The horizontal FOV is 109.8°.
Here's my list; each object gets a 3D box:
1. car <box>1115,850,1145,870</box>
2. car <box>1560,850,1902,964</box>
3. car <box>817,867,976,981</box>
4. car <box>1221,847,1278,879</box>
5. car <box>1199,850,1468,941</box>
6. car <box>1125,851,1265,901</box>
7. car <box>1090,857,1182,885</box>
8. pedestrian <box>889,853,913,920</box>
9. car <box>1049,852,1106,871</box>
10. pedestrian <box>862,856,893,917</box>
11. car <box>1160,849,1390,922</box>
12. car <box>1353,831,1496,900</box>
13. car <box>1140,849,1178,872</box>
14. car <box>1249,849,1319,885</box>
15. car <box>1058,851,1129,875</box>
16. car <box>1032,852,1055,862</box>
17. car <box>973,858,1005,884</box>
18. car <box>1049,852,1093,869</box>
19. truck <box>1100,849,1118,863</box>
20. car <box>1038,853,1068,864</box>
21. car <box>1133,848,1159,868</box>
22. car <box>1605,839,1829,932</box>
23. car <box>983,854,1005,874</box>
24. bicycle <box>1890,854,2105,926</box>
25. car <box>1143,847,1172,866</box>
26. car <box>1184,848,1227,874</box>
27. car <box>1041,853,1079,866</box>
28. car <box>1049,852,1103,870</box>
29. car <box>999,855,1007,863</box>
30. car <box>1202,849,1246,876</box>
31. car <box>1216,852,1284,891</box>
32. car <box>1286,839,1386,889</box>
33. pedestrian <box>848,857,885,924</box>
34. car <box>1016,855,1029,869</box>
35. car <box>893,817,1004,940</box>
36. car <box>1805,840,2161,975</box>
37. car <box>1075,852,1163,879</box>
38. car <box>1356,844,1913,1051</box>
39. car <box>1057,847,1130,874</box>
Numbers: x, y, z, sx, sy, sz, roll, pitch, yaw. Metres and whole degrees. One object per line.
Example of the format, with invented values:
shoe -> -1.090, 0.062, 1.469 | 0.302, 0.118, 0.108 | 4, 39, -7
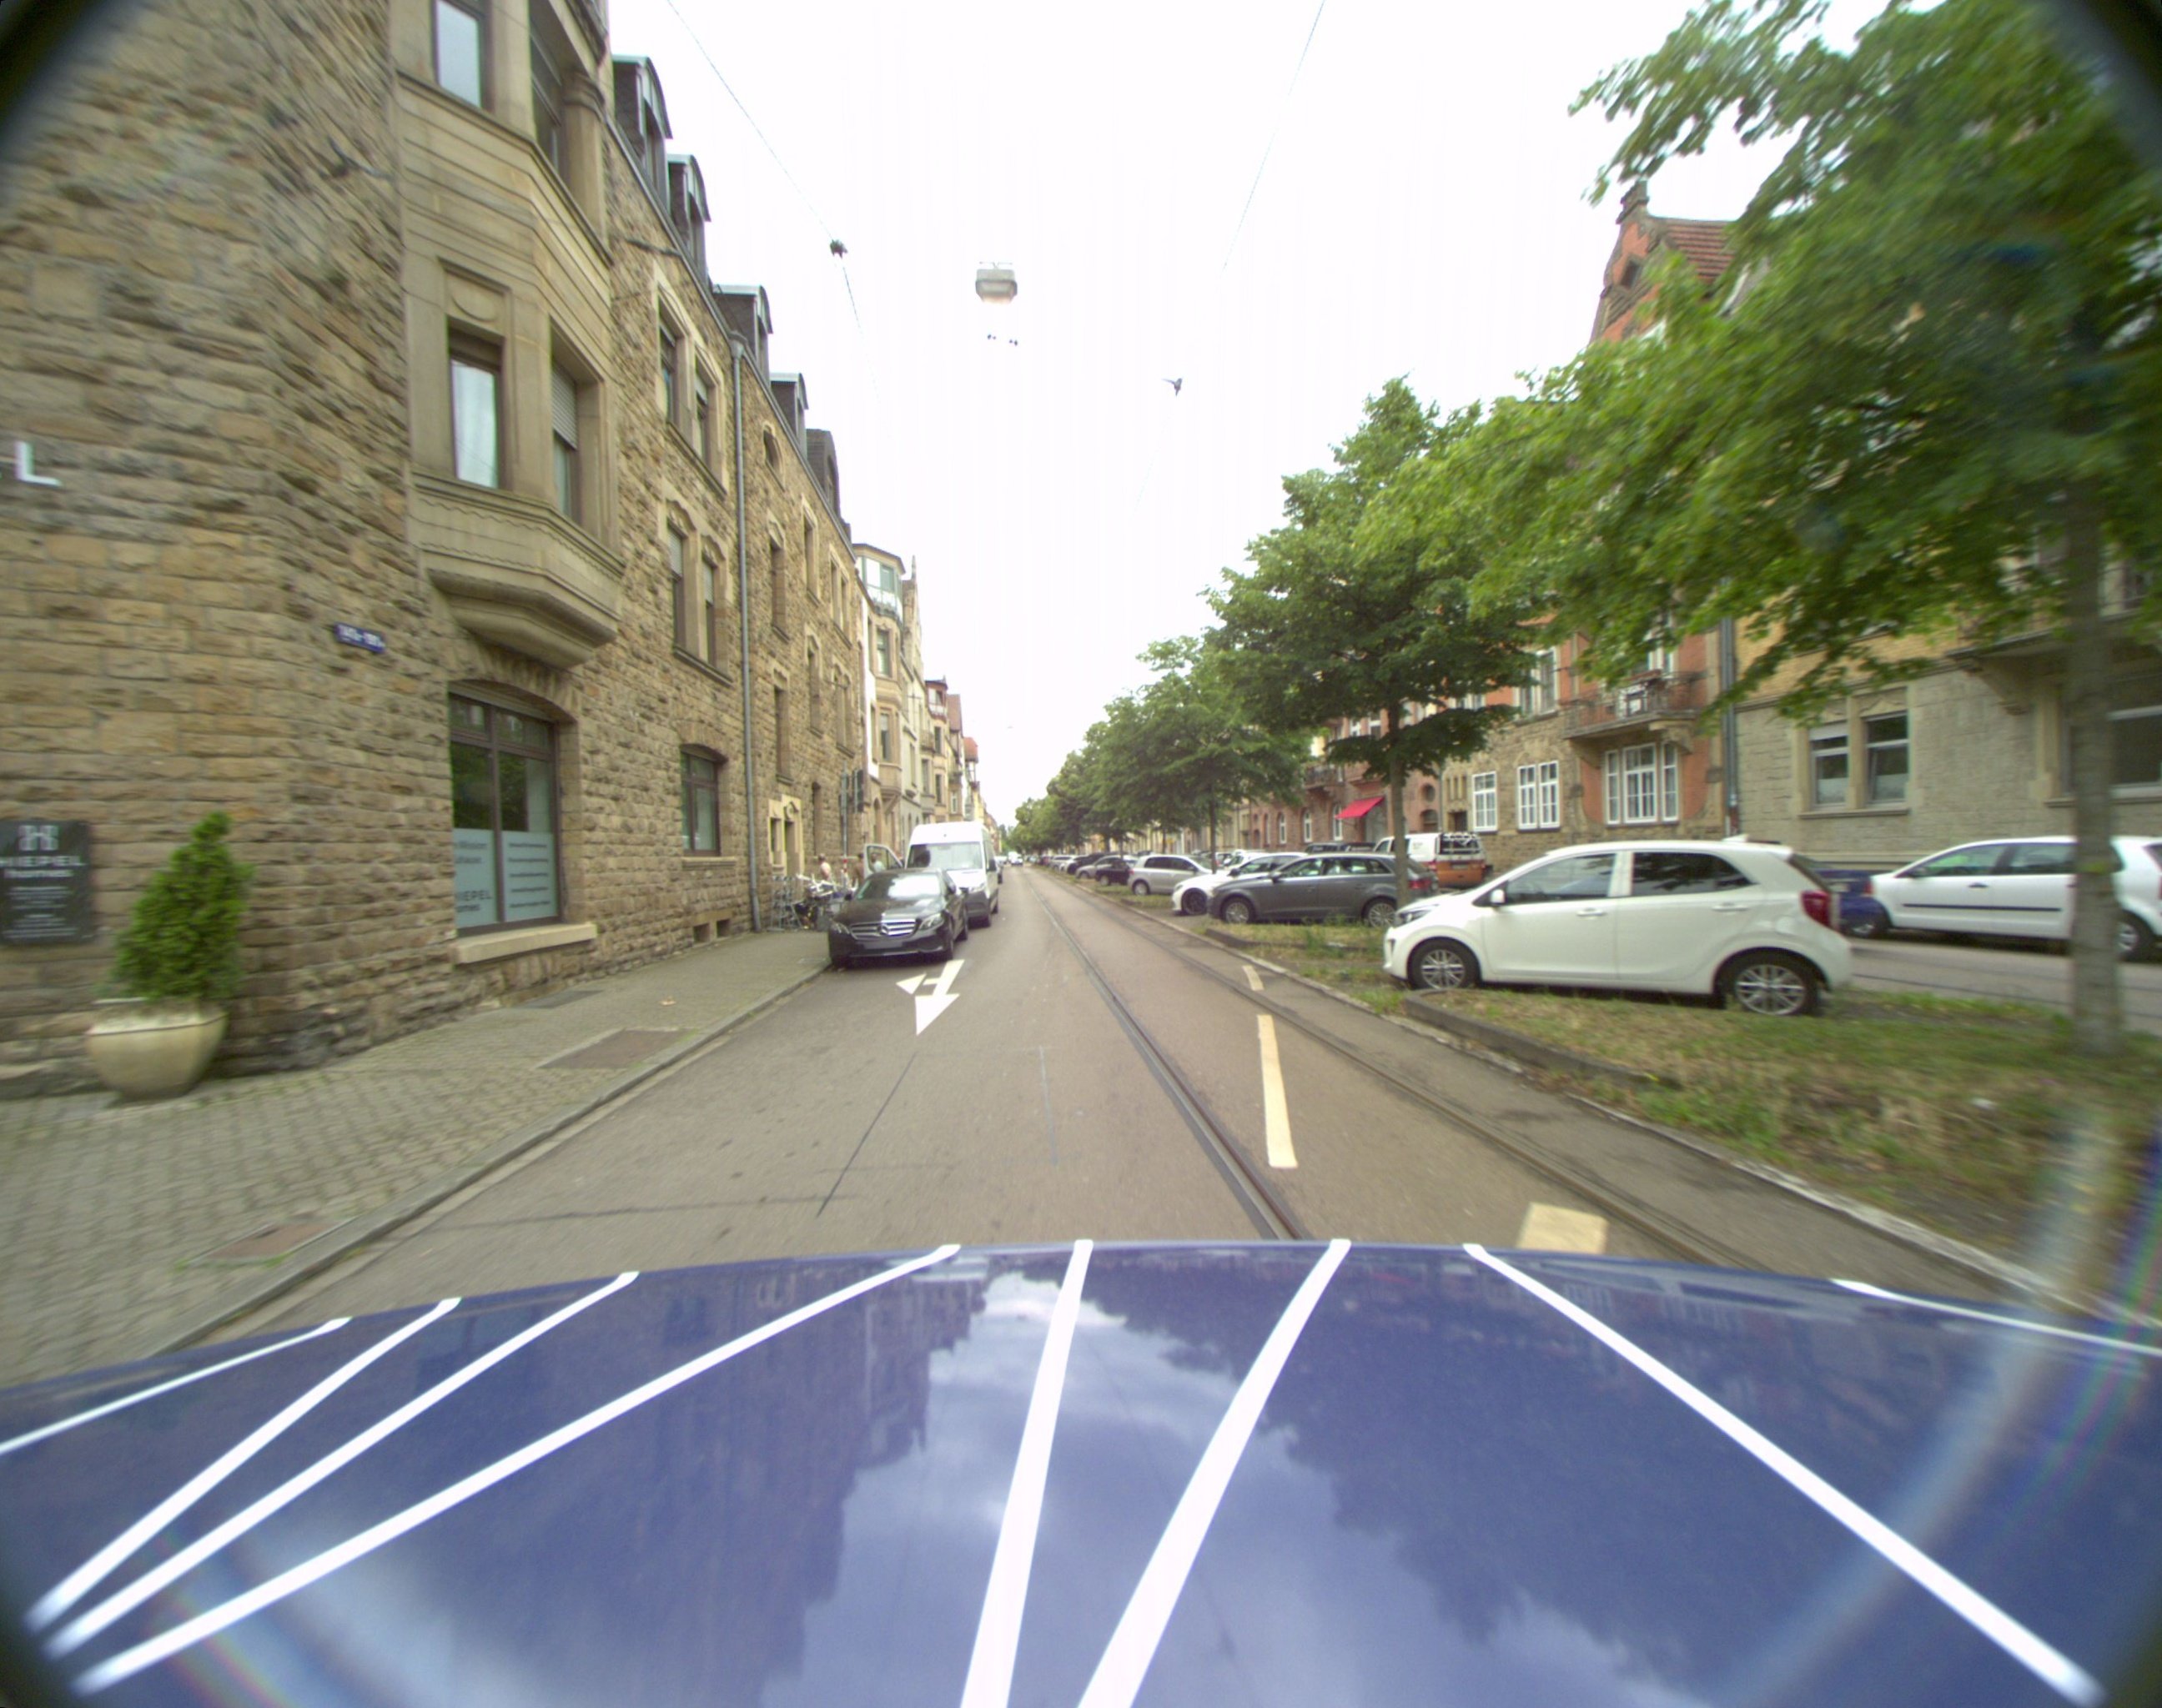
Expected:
car -> 4.168, 0.471, 65.644 | 1.810, 1.570, 4.544 | -2, 1, -6
car -> 9.448, 0.651, 11.526 | 1.649, 1.374, 3.881 | -2, 1, -6
car -> -2.987, 1.049, 13.418 | 1.829, 1.442, 5.004 | -3, 0, -4
car -> 9.297, 0.462, 42.295 | 1.745, 1.617, 4.551 | -2, 1, -6
car -> 4.612, 0.705, 14.148 | 4.328, 1.426, 1.902 | -2, 0, 37
car -> 3.686, 0.726, 24.826 | 4.106, 1.475, 1.800 | -2, 1, 36
car -> 2.510, 0.802, 35.212 | 3.952, 1.195, 1.671 | -2, 0, 39
pedestrian -> -4.927, 0.885, 20.862 | 0.500, 1.804, 0.802 | 0, 0, -4
car -> -0.265, 0.595, 59.232 | 4.119, 1.304, 1.867 | -2, 1, 38
pedestrian -> -5.771, 0.918, 21.535 | 0.706, 1.690, 0.491 | 0, 0, -33
car -> 4.336, 0.681, 17.320 | 4.675, 1.426, 1.902 | -2, 0, 34
car -> 10.872, 0.299, 24.553 | 1.887, 1.941, 5.091 | -2, 1, -6
car -> 5.385, 0.428, 52.971 | 1.649, 1.495, 4.619 | -2, 1, -6
car -> 9.671, 0.568, 36.623 | 1.745, 1.533, 4.551 | -2, 1, -6
car -> 0.803, 0.623, 51.942 | 4.529, 1.482, 2.040 | -1, 1, 39
car -> -7.076, 0.580, 144.028 | 3.990, 1.602, 1.902 | -2, -1, 26
car -> -5.636, 1.012, 46.915 | 1.806, 1.430, 5.193 | -2, 0, -6
car -> -1.064, 0.697, 77.269 | 4.195, 1.600, 1.728 | -1, 2, 36
truck -> 3.846, 0.281, 106.011 | 2.151, 1.845, 6.062 | -2, 0, -1
car -> -4.148, 0.683, 112.681 | 3.989, 1.407, 1.902 | -2, -1, 33
car -> 6.466, 0.404, 76.091 | 1.856, 1.860, 4.429 | -2, 0, -5
car -> 11.983, 0.531, 14.552 | 1.639, 1.541, 2.949 | -2, 0, -7
car -> -7.532, 0.868, 65.904 | 1.764, 1.612, 4.691 | -2, 0, -7
bicycle -> 15.134, 0.552, 12.671 | 0.713, 1.066, 2.258 | -2, 0, -7
car -> 6.864, 0.210, 68.677 | 1.810, 1.670, 4.270 | -2, 1, -6
car -> 8.454, 0.421, 51.804 | 1.774, 1.619, 4.317 | -2, 1, -6
car -> -2.683, 0.682, 95.081 | 4.595, 1.458, 1.890 | -2, 0, 41
car -> -0.479, 0.622, 67.126 | 4.552, 1.484, 1.867 | -2, 1, 41
car -> -15.910, 1.007, 155.319 | 1.677, 1.520, 4.210 | -3, 1, -6
car -> 8.880, 0.511, 47.448 | 1.667, 1.551, 3.720 | -2, 1, -6
car -> 7.136, 0.707, 32.443 | 1.649, 1.495, 3.881 | -2, 1, -6
car -> 10.023, 0.346, 30.386 | 1.819, 1.771, 5.114 | -2, 1, -6
pedestrian -> -5.535, 0.936, 19.601 | 0.866, 1.690, 0.537 | 0, 0, -19
car -> -9.014, 1.187, 116.841 | 1.999, 2.002, 3.997 | -2, 1, -5
car -> -3.191, 0.515, 19.818 | 2.019, 2.534, 7.013 | -4, 0, -4
car -> 12.347, 0.573, 10.006 | 1.639, 1.434, 3.921 | -2, 0, -6
car -> 2.041, 0.631, 41.981 | 4.655, 1.360, 1.761 | -2, 1, 38
car -> 4.855, 0.699, 7.218 | 3.853, 1.454, 1.693 | -2, 0, 37
car -> 0.762, 0.415, 48.328 | 4.520, 1.624, 1.769 | -1, 1, 39
